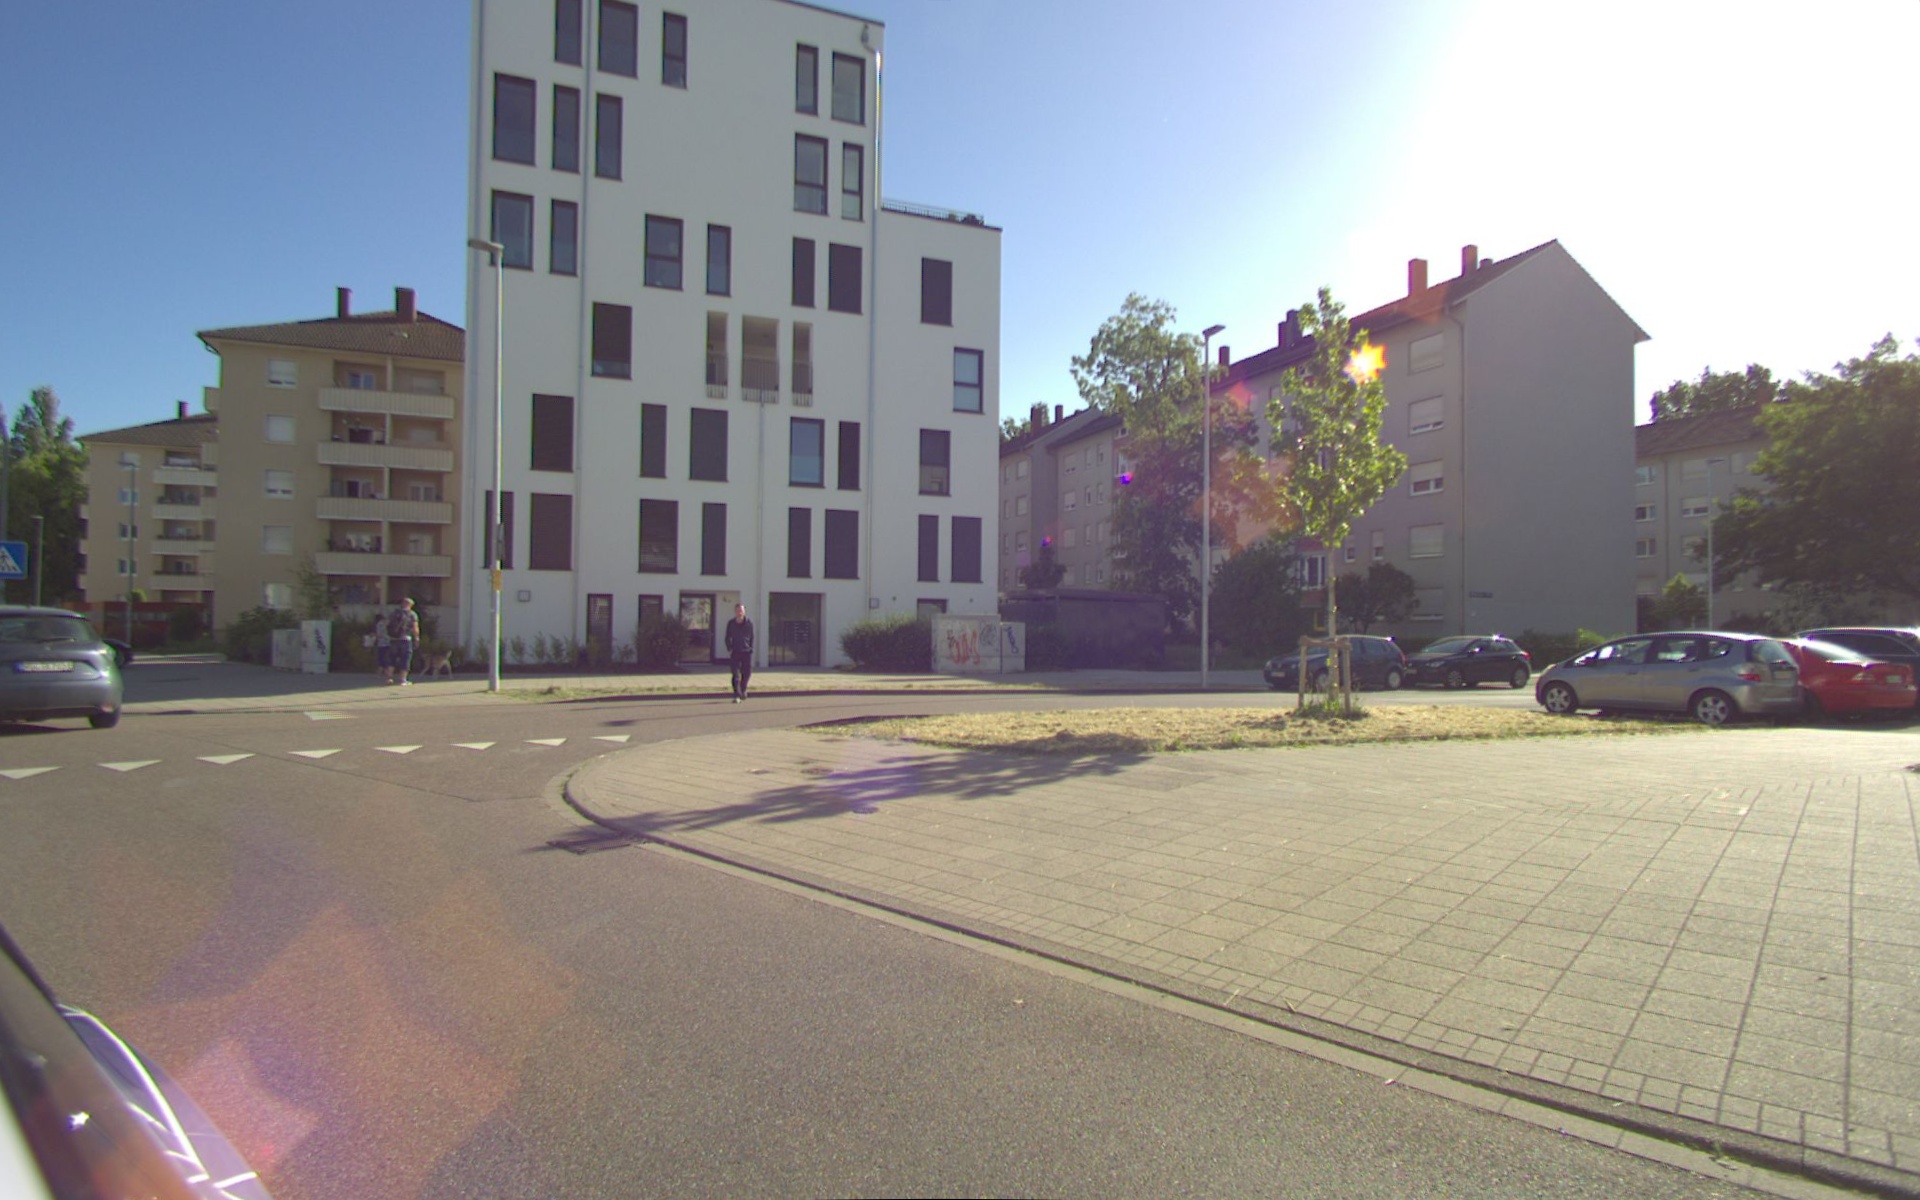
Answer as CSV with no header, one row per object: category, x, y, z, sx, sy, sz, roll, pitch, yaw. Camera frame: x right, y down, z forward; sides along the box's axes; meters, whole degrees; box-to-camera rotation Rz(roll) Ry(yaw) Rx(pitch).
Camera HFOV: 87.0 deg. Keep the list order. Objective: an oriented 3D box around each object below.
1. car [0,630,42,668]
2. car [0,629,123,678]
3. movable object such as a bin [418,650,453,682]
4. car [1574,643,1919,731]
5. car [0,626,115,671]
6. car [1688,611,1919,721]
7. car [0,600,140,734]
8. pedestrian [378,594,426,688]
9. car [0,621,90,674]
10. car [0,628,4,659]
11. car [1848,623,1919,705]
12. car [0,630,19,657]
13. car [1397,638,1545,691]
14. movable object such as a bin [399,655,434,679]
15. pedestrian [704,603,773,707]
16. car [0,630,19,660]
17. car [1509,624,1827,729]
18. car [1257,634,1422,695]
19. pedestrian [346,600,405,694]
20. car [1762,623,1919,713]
car,-38.887,1.941,39.566,1.983,1.412,3.977,2,0,18
car,-29.020,1.651,31.310,1.980,1.442,4.545,-1,-2,13
movable object such as a bin,-11.713,1.468,22.603,0.845,0.685,0.269,1,-1,30
car,13.718,1.428,17.745,1.698,1.284,4.901,2,-3,-26
car,-27.132,1.380,28.745,1.980,1.176,4.545,-1,-1,13
car,16.518,1.165,18.890,1.965,1.778,4.307,2,0,-24
car,-12.343,0.837,12.892,4.126,1.515,1.822,-2,-3,34
pedestrian,-11.669,0.841,21.146,0.778,1.899,0.849,2,0,-32
car,-31.095,1.531,32.867,1.978,1.664,3.987,-1,-1,10
car,-54.057,2.323,53.995,1.991,1.652,3.962,2,0,28
car,21.403,1.329,20.775,1.965,1.712,4.307,2,-3,-24
car,-47.964,2.156,48.354,1.982,1.264,3.980,2,2,16
car,14.155,1.741,28.024,3.930,1.386,1.415,1,-2,-23
movable object such as a bin,-13.014,1.602,24.235,0.676,0.546,0.272,1,-2,-2
pedestrian,-3.818,0.941,17.458,0.962,1.727,0.876,1,-2,-26
car,-45.781,2.088,45.970,1.986,1.320,3.972,1,0,21
car,11.787,1.203,17.188,1.698,1.503,4.115,2,-2,-25
car,9.835,1.655,26.235,3.930,1.431,1.678,2,0,-24
pedestrian,-13.560,1.082,23.474,0.952,2.137,0.770,-1,-1,21
car,19.046,1.356,20.196,1.965,1.712,4.307,2,-3,-24
